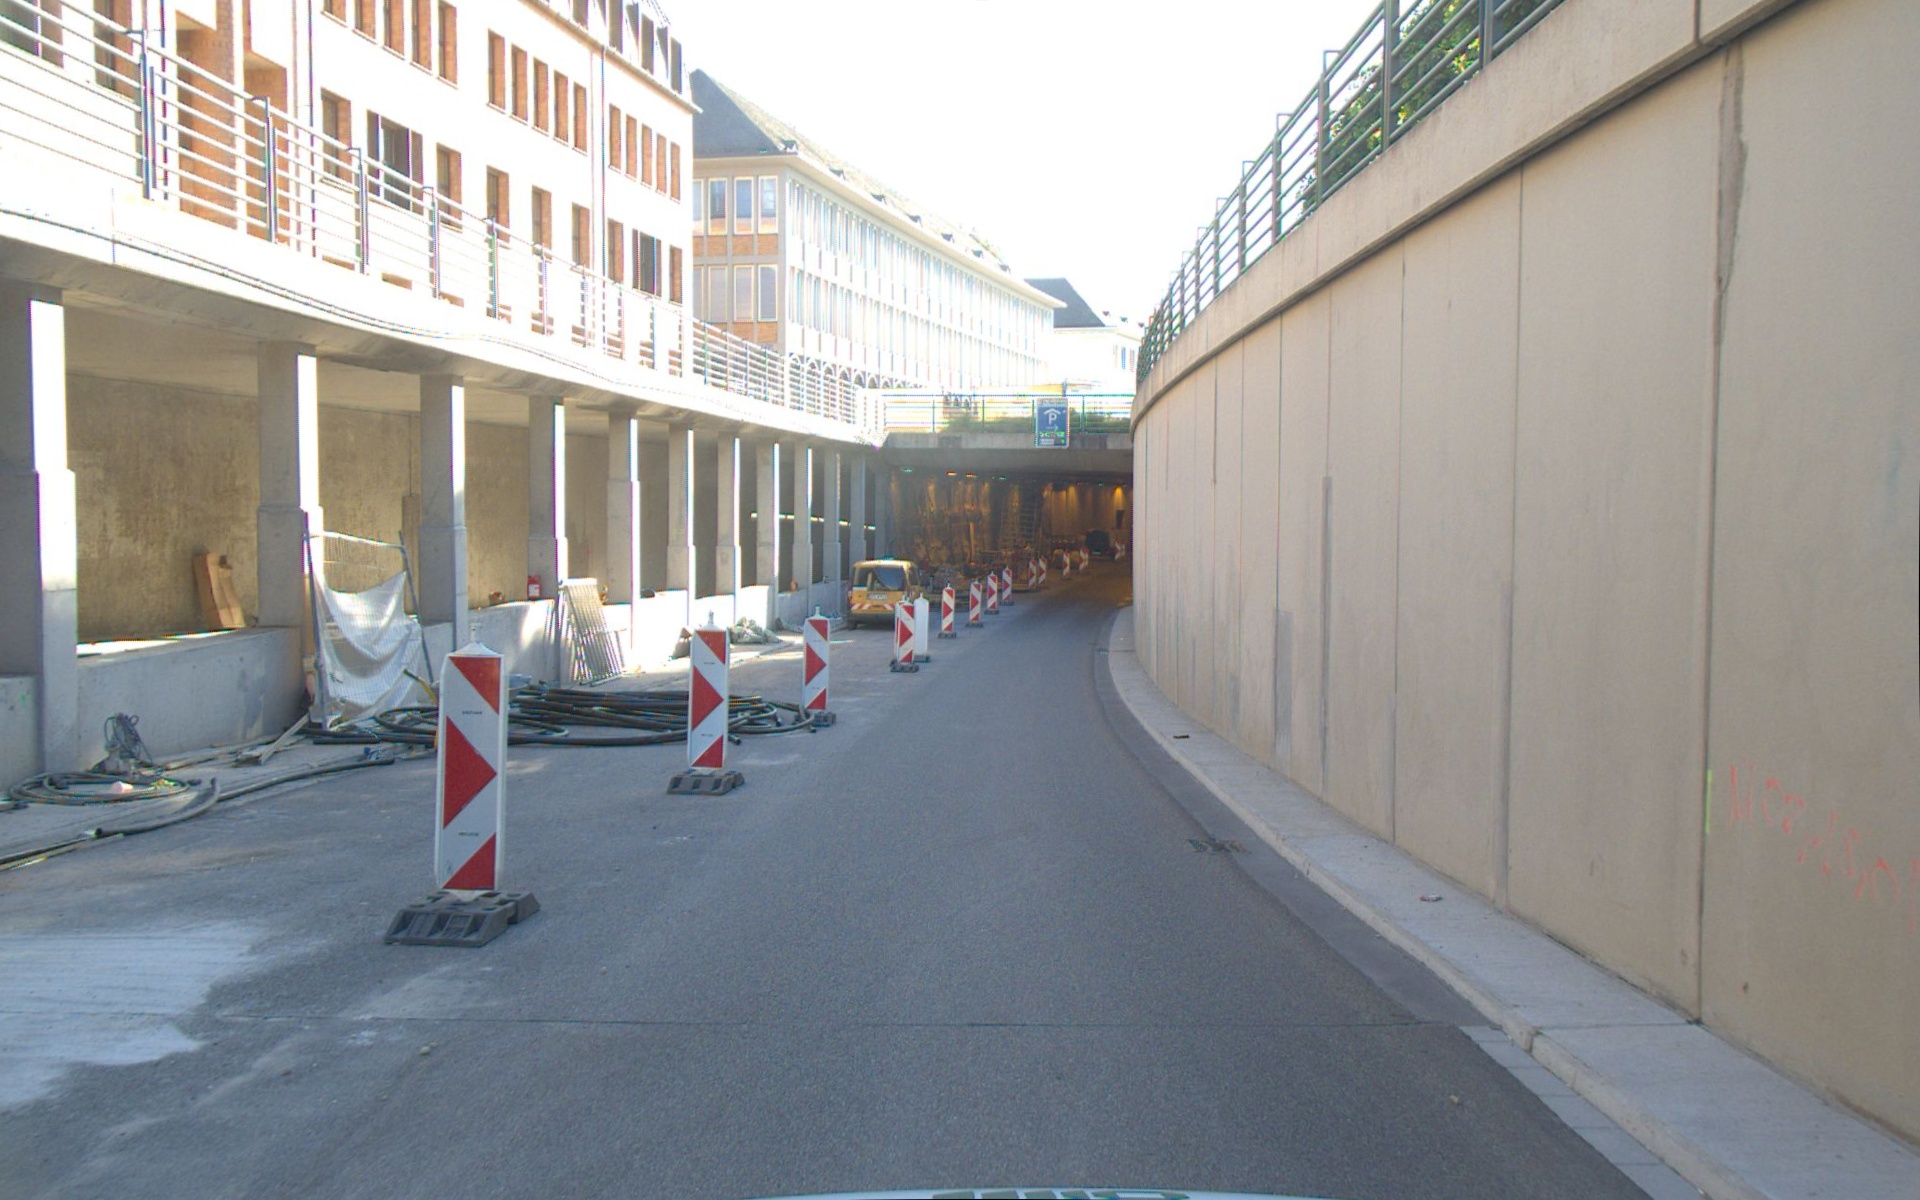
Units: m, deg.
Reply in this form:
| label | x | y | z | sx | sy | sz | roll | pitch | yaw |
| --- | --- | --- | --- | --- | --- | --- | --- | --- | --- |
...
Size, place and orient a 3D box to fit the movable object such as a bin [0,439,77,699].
| label | x | y | z | sx | sy | sz | roll | pitch | yaw |
| --- | --- | --- | --- | --- | --- | --- | --- | --- | --- |
| movable object such as a bin | -8.375 | -0.246 | 12.393 | 1.847 | 2.021 | 3.158 | 1 | 1 | -2 |

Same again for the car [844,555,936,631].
| label | x | y | z | sx | sy | sz | roll | pitch | yaw |
| --- | --- | --- | --- | --- | --- | --- | --- | --- | --- |
| car | -1.825 | -0.231 | 44.470 | 1.809 | 1.806 | 4.439 | 1 | 3 | 6 |

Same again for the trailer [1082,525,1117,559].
| label | x | y | z | sx | sy | sz | roll | pitch | yaw |
| --- | --- | --- | --- | --- | --- | --- | --- | --- | --- |
| trailer | 7.948 | -3.319 | 94.257 | 1.547 | 1.829 | 2.943 | 2 | 3 | 13 |
